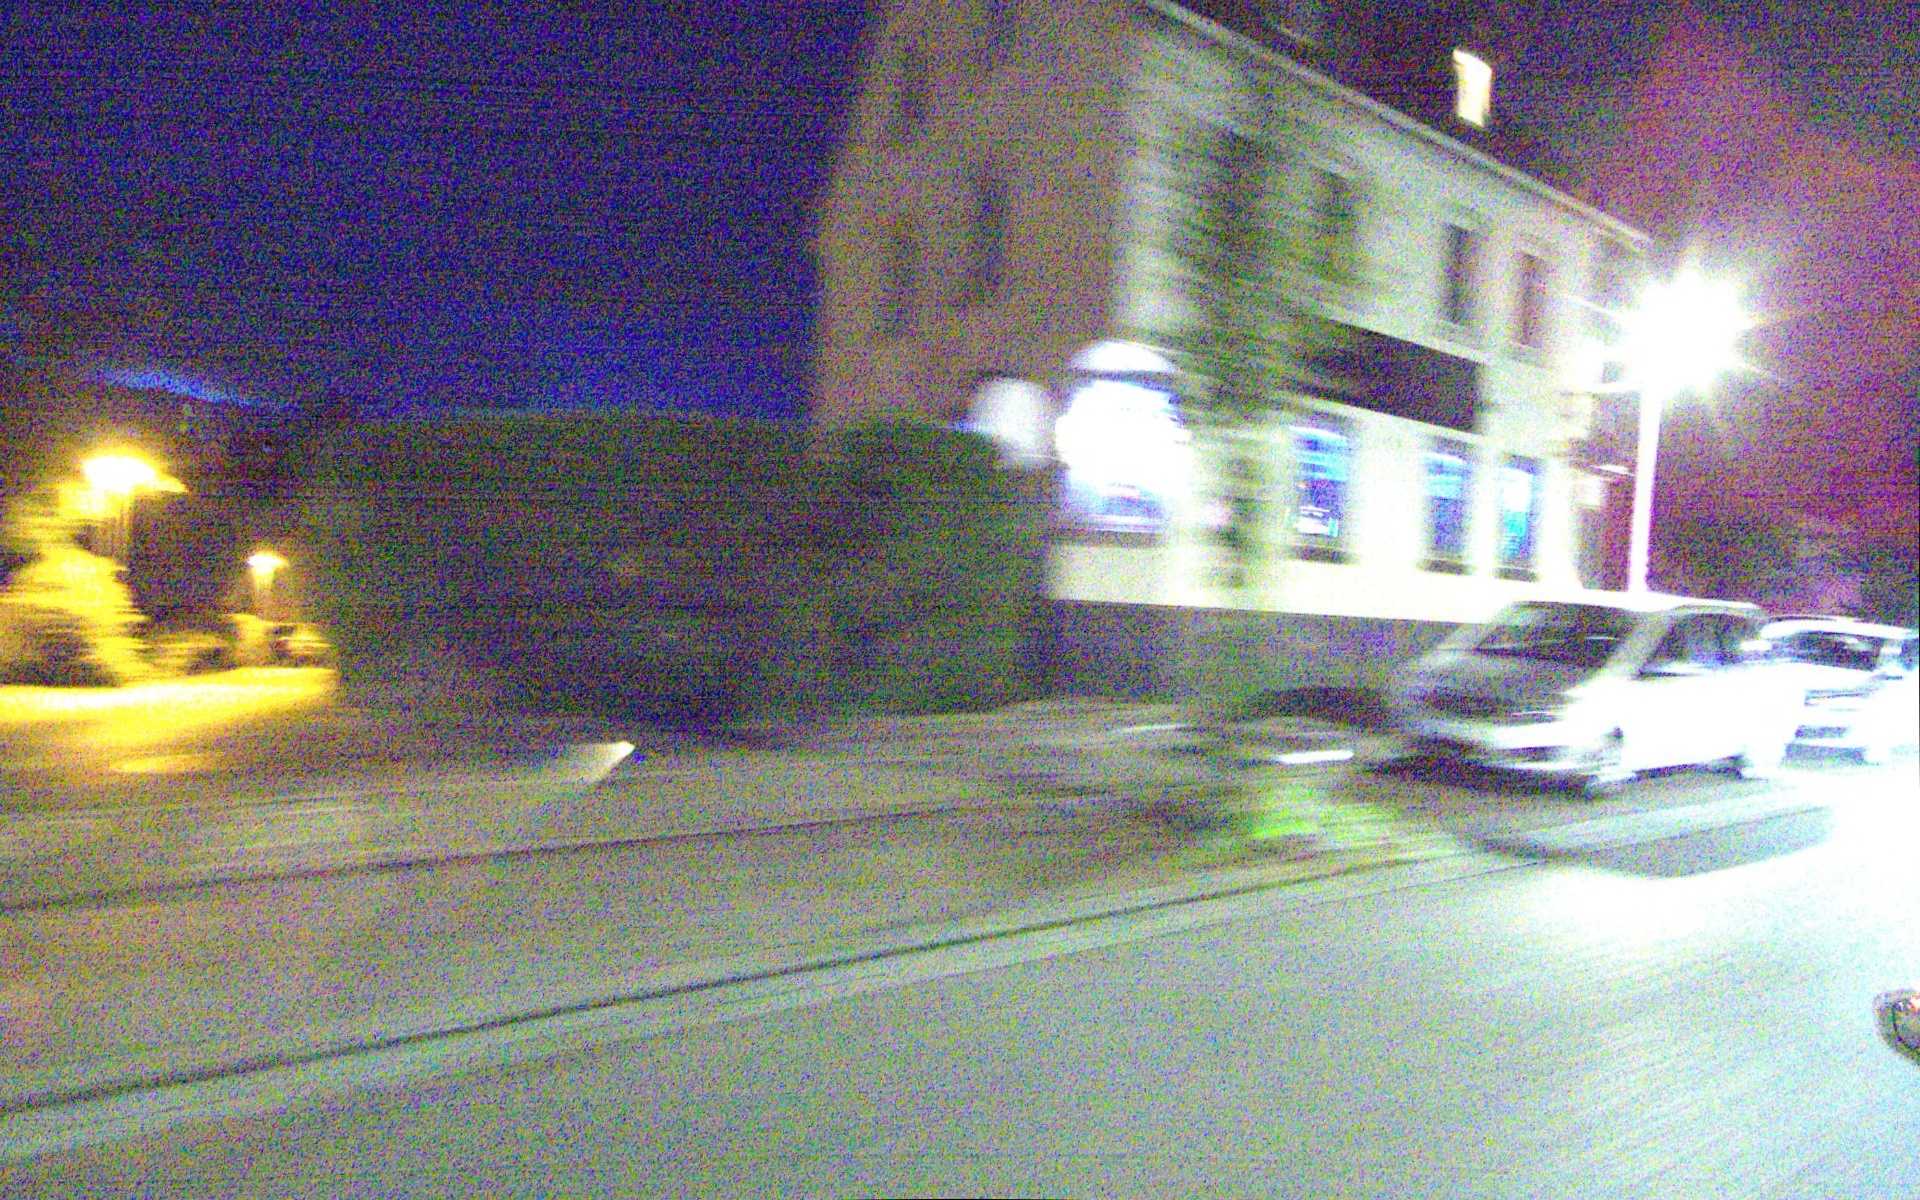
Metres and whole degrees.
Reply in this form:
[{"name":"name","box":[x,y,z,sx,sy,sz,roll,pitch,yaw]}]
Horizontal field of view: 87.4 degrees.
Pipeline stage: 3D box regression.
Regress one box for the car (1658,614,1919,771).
[{"name":"car","box":[10.223,0.994,11.913,3.922,1.488,1.761,2,2,-32]}]

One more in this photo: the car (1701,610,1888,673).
[{"name":"car","box":[24.723,1.184,29.863,1.930,1.725,3.957,2,-1,-37]}]

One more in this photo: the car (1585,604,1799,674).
[{"name":"car","box":[19.044,0.966,26.330,1.976,1.684,4.097,2,-1,-29]}]

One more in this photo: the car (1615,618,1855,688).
[{"name":"car","box":[17.975,1.276,23.491,1.977,1.483,3.969,2,-5,-31]}]

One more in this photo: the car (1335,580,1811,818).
[{"name":"car","box":[5.730,0.760,9.258,4.421,1.658,1.918,2,2,-32]}]
